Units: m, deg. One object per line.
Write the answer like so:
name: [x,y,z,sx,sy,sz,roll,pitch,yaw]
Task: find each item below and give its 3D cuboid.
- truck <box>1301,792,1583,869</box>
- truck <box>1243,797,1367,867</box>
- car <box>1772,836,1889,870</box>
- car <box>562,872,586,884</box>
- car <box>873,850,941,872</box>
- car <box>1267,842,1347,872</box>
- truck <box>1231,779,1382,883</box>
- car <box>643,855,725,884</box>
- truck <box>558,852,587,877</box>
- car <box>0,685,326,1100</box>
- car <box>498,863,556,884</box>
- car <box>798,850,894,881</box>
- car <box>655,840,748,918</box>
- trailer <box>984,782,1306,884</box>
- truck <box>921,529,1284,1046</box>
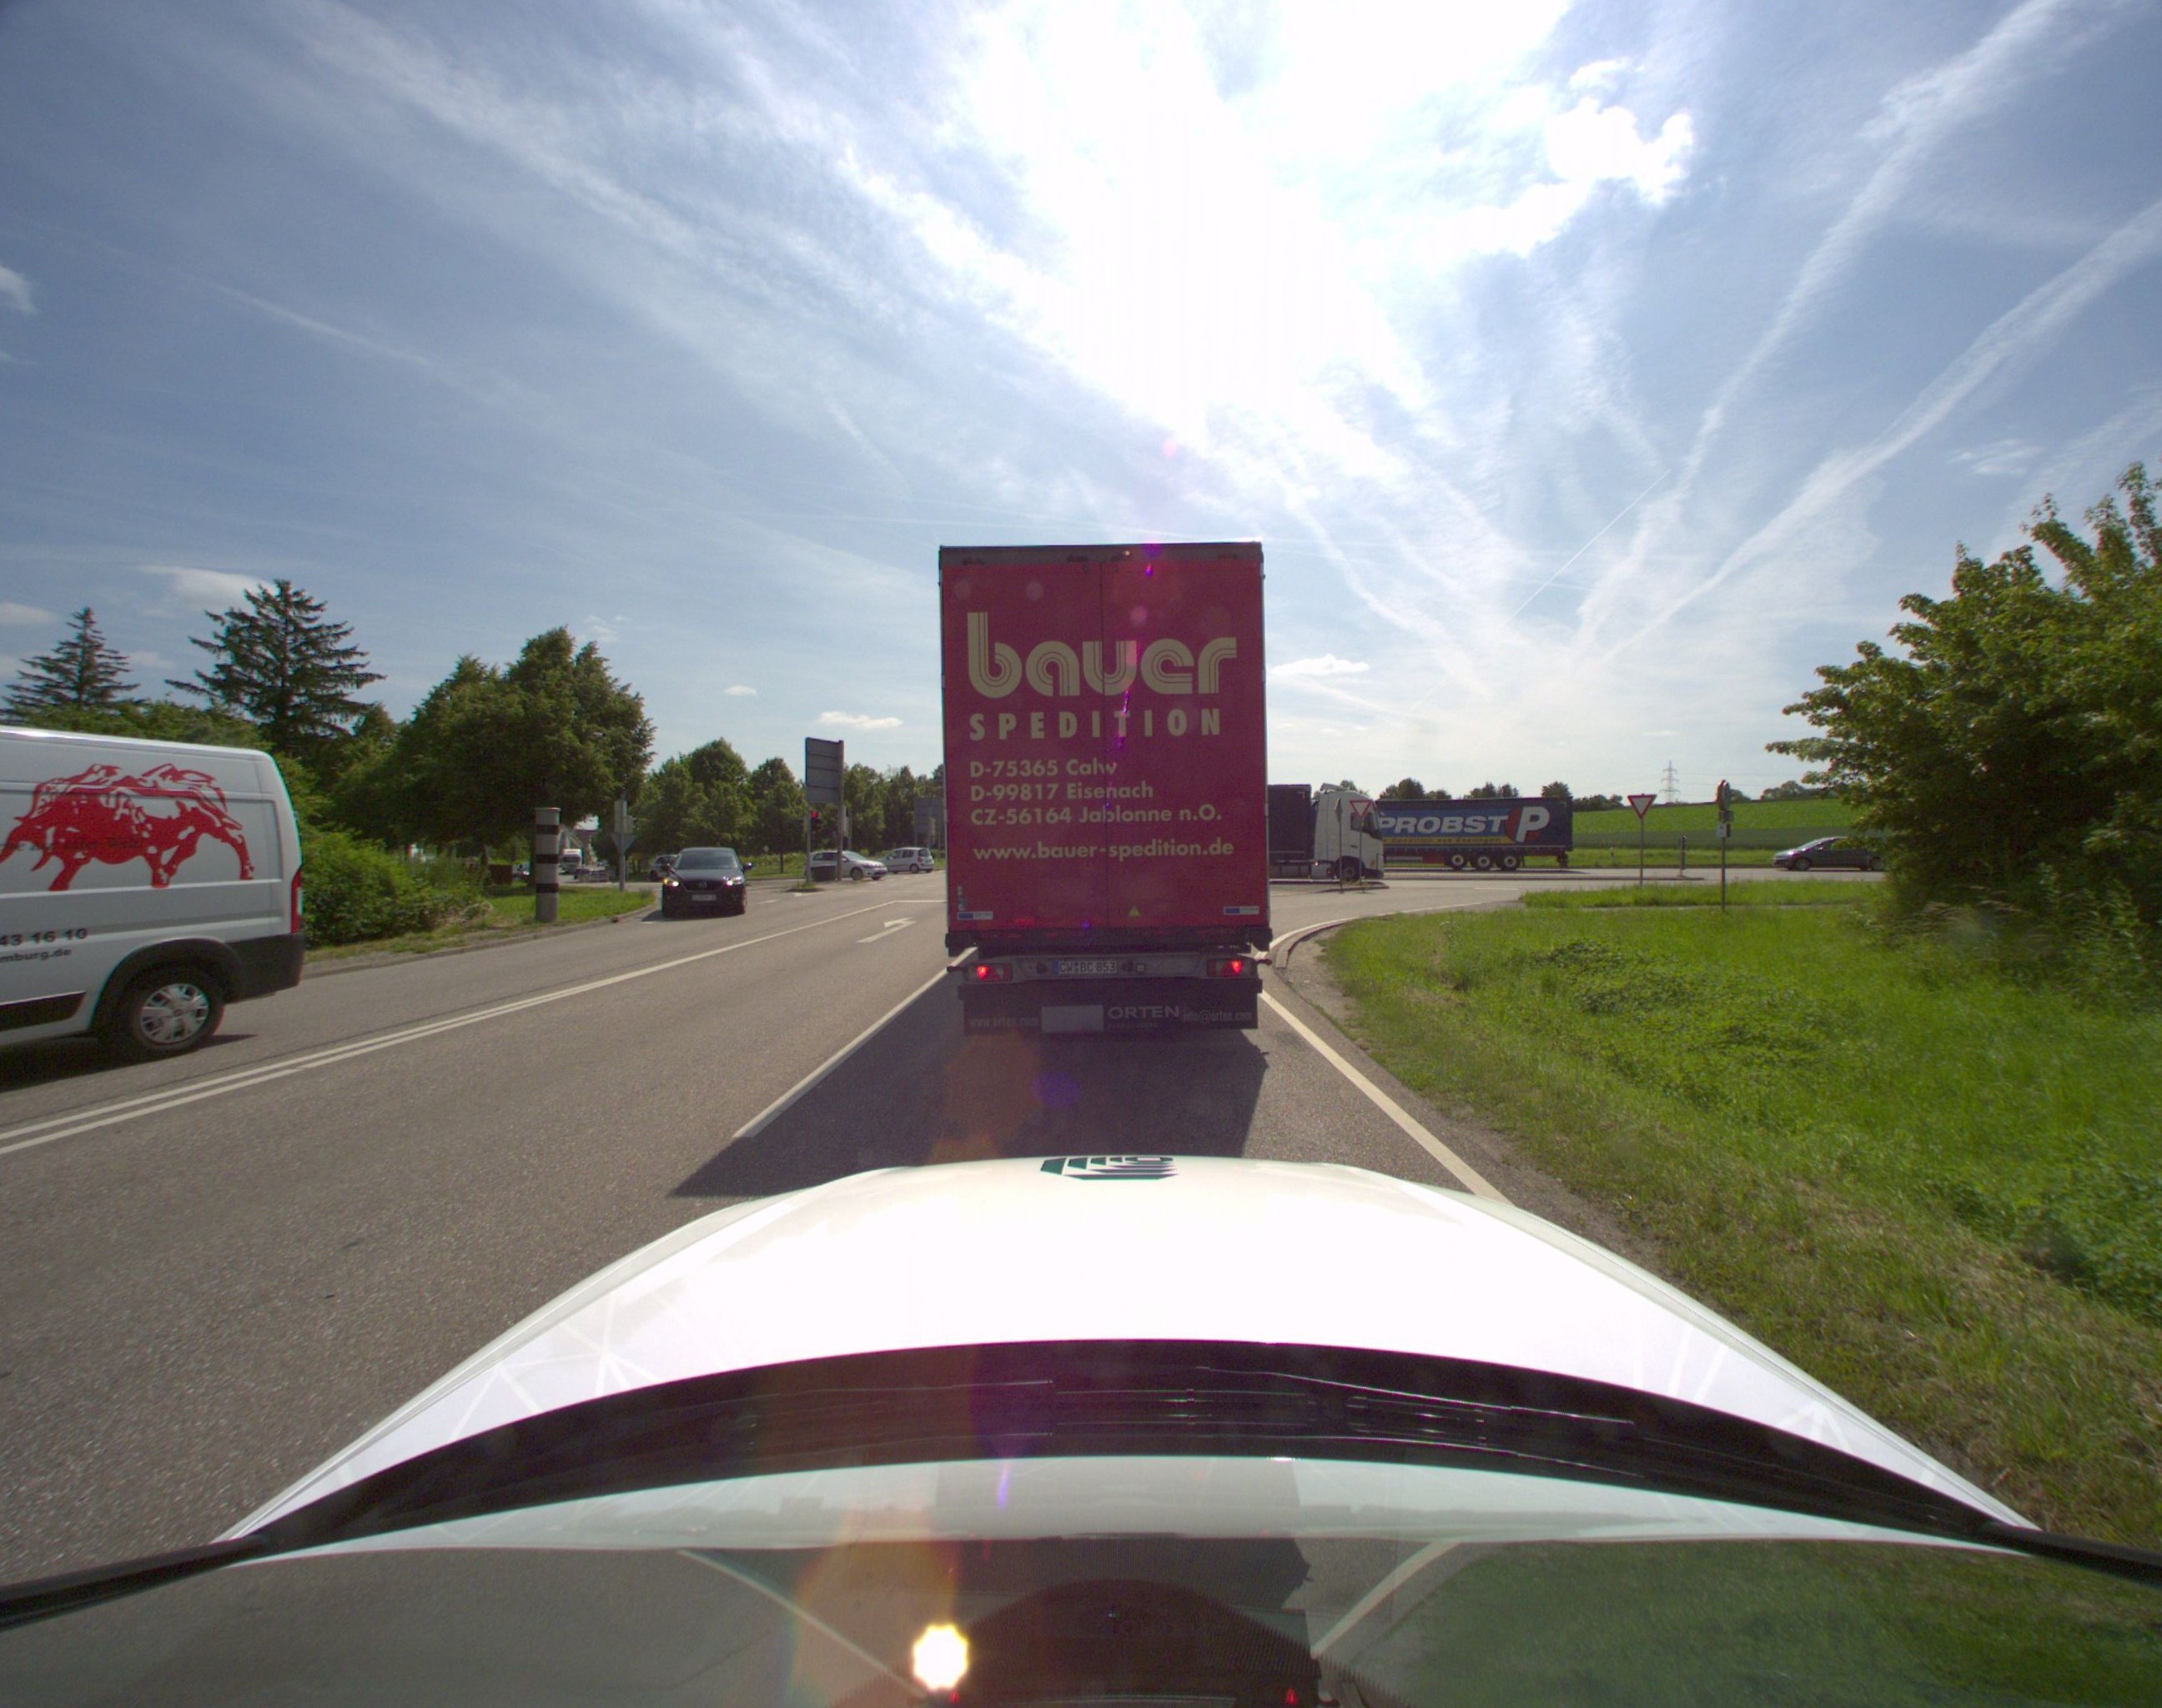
truck: [19.911,-1.238,46.113,14.159,3.979,3.043,0,1,21]
truck: [13.392,-1.261,48.575,6.872,3.993,3.043,0,1,20]
car: [36.656,-0.043,39.948,3.950,1.596,1.674,0,-1,28]
car: [-63.152,3.004,101.555,2.003,1.429,3.967,0,-1,-25]
car: [-10.681,0.441,50.032,3.814,1.357,1.685,0,0,22]
car: [11.923,0.183,43.087,3.967,1.491,1.543,-1,-1,13]
truck: [9.191,-0.901,33.680,5.788,4.061,2.807,0,1,11]
car: [-21.198,0.804,43.457,3.998,1.416,1.806,0,1,25]
truck: [-80.084,1.640,128.448,2.952,3.798,7.860,0,-1,-26]
car: [-7.991,0.261,4.398,2.110,2.654,5.988,0,1,1]
car: [-36.424,1.235,53.515,4.225,1.305,1.753,0,0,35]
car: [-11.434,0.542,39.673,4.211,1.461,1.819,0,1,20]
car: [-9.565,0.574,20.793,1.874,1.750,4.080,-1,0,-22]
trailer: [2.710,-0.835,35.351,13.583,4.061,2.810,0,1,15]
truck: [0.395,-0.563,14.553,2.724,3.925,16.631,-1,0,2]
